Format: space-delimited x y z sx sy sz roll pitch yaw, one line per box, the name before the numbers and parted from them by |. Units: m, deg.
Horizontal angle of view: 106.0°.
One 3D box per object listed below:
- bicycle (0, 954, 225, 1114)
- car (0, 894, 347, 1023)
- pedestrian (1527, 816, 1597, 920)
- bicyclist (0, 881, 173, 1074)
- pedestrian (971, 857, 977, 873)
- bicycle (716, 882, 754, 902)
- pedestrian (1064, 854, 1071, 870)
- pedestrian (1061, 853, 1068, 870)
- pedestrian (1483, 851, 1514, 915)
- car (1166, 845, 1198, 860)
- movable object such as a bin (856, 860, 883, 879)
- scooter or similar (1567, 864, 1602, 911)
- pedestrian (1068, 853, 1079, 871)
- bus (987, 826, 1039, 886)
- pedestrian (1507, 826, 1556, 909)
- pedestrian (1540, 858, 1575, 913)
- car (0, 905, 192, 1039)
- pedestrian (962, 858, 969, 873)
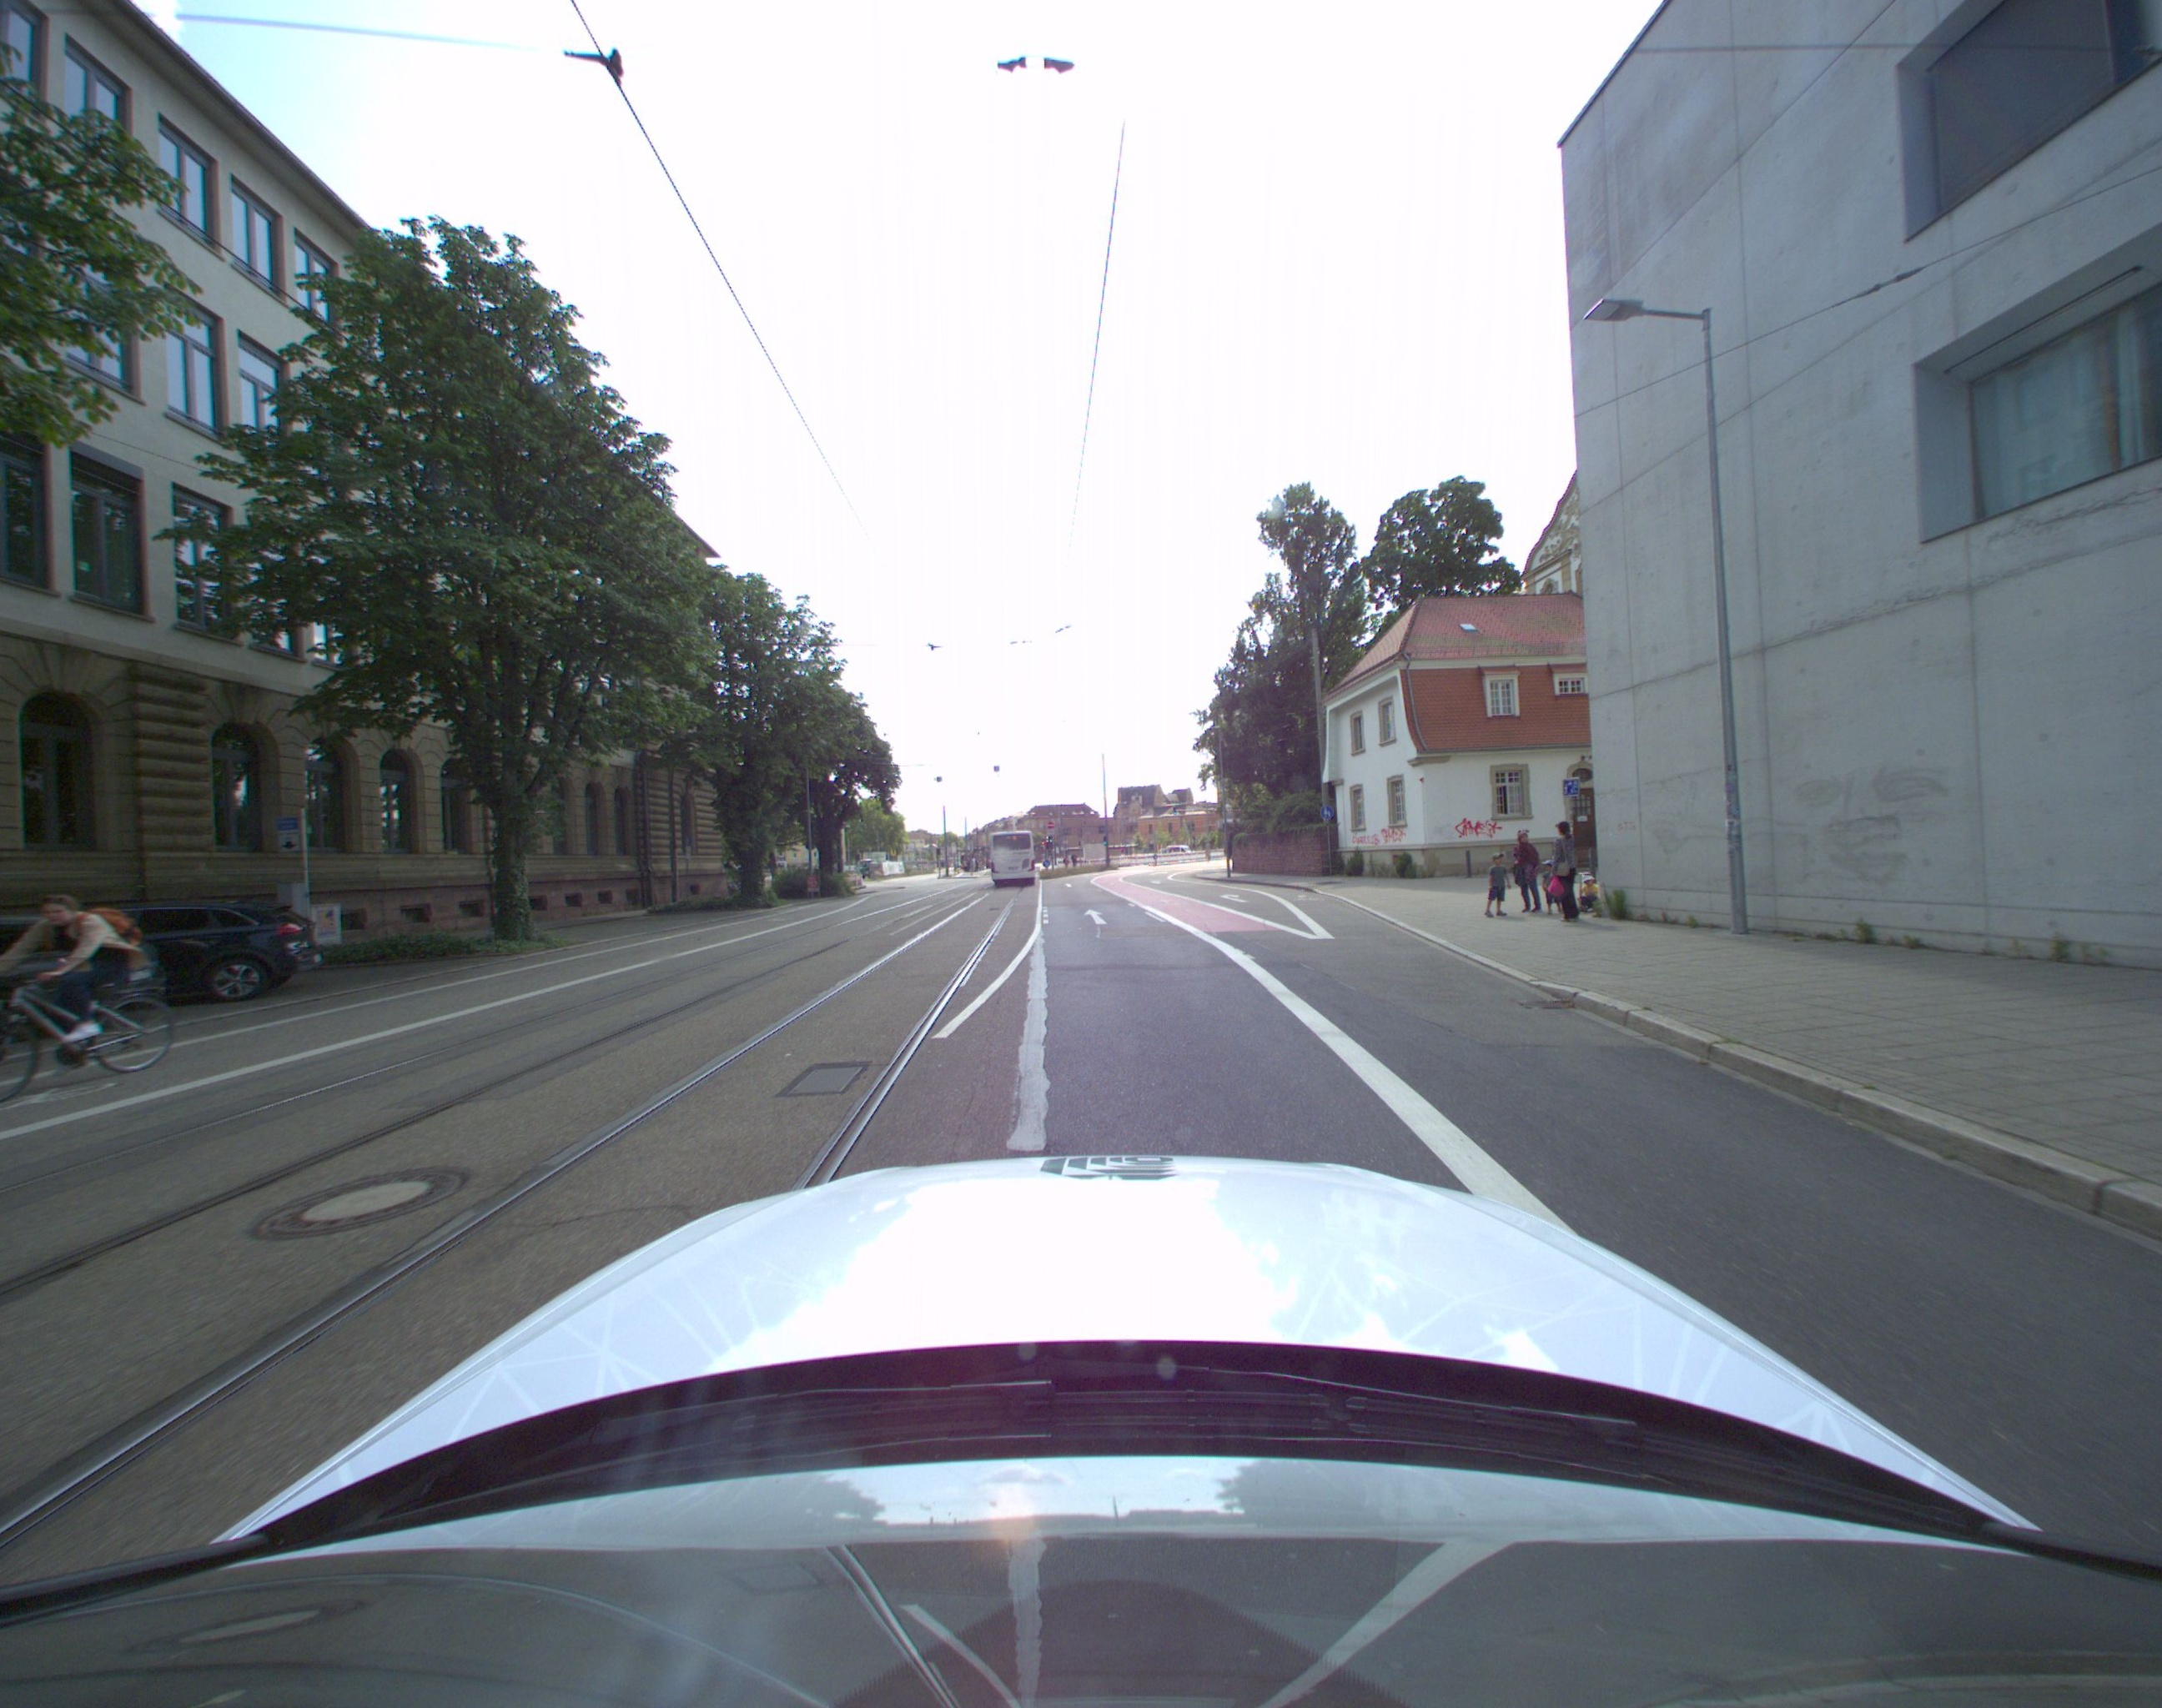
bicycle | -8.737 1.514 7.095 0.698 1.017 1.815 -4 0 -6
car | -14.310 1.517 12.500 4.259 1.550 1.906 -2 0 -35
pedestrian | 8.404 0.231 14.253 0.682 1.724 0.747 -4 1 0
bicyclist | -8.775 1.030 7.084 0.690 1.519 0.866 -4 0 -6
pedestrian | -12.796 1.314 97.228 0.609 1.885 0.793 -3 0 -3
bicycle | -22.322 2.463 52.618 2.110 1.168 0.729 -2 -1 -5
pedestrian | -1.440 0.837 86.012 0.404 1.736 0.625 -3 -1 26
pedestrian | -1.691 0.766 84.976 0.608 1.706 0.623 -3 0 2
pedestrian | 8.224 0.568 16.045 0.401 1.200 0.424 -4 1 16
car | 18.272 -0.258 147.739 2.313 2.319 5.523 -2 -1 -39
movable object such as a bin | -30.198 2.243 116.371 2.634 2.574 3.999 -3 -1 -1
scooter or similar | 9.361 0.623 15.141 0.551 0.800 0.265 -7 2 -27
pedestrian | -0.811 0.817 86.733 0.797 1.885 0.606 -3 -1 -35
bus | -4.261 0.182 52.700 2.912 3.328 12.189 -2 -1 -4
pedestrian | 8.839 0.259 15.987 0.520 1.580 0.546 -5 1 -13
pedestrian | 8.998 0.586 15.398 0.343 1.010 0.395 -5 1 -12
car | -14.093 1.514 9.752 4.255 1.447 1.776 -3 0 -31
pedestrian | -14.449 1.434 101.964 0.609 1.885 0.793 -3 0 -2
